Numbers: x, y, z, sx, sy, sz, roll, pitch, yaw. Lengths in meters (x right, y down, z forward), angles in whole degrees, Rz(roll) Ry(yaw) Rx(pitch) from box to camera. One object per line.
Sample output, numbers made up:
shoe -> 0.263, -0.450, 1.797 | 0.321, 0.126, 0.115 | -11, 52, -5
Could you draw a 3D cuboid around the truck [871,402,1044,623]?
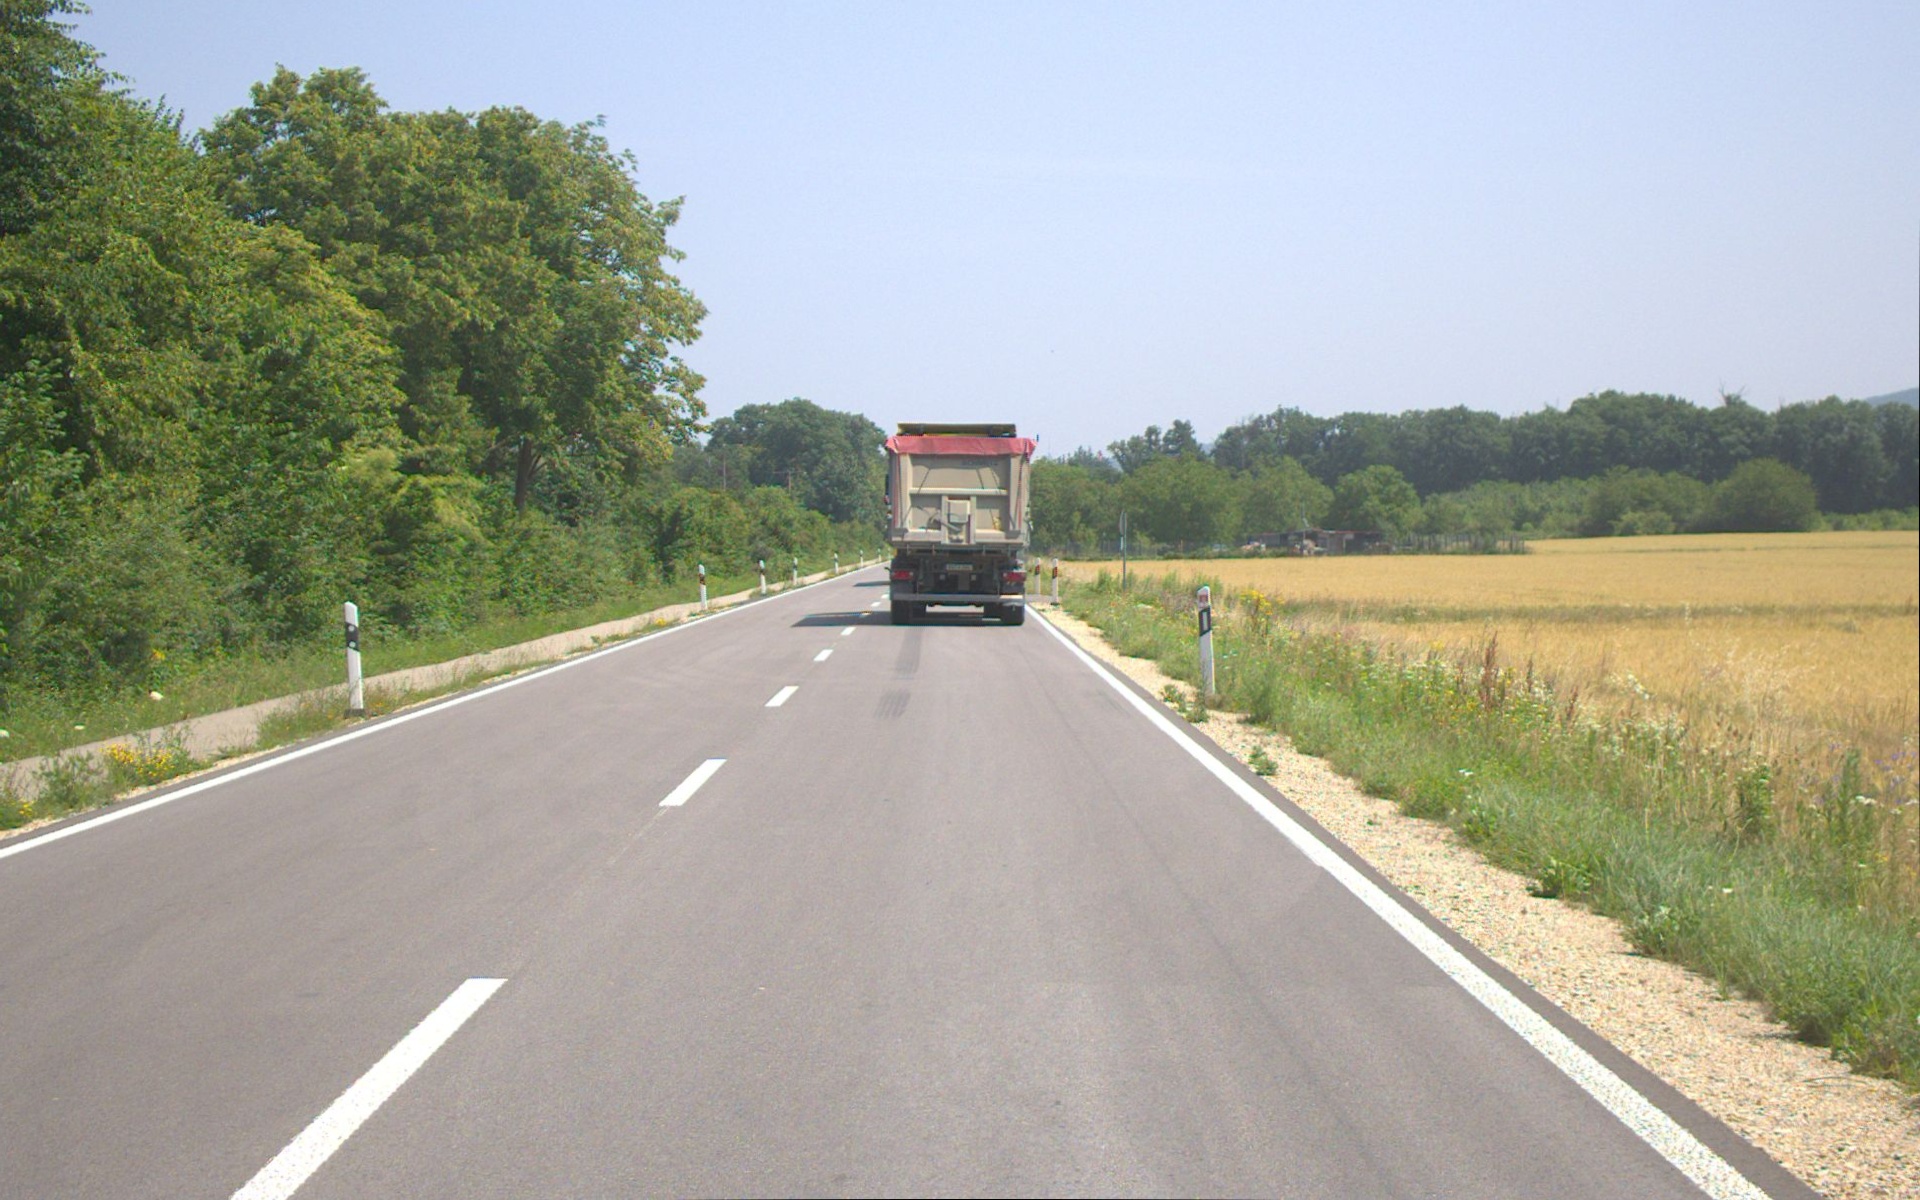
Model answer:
truck -> -0.060, -1.618, 67.216 | 3.009, 3.861, 12.209 | 1, 1, 0
